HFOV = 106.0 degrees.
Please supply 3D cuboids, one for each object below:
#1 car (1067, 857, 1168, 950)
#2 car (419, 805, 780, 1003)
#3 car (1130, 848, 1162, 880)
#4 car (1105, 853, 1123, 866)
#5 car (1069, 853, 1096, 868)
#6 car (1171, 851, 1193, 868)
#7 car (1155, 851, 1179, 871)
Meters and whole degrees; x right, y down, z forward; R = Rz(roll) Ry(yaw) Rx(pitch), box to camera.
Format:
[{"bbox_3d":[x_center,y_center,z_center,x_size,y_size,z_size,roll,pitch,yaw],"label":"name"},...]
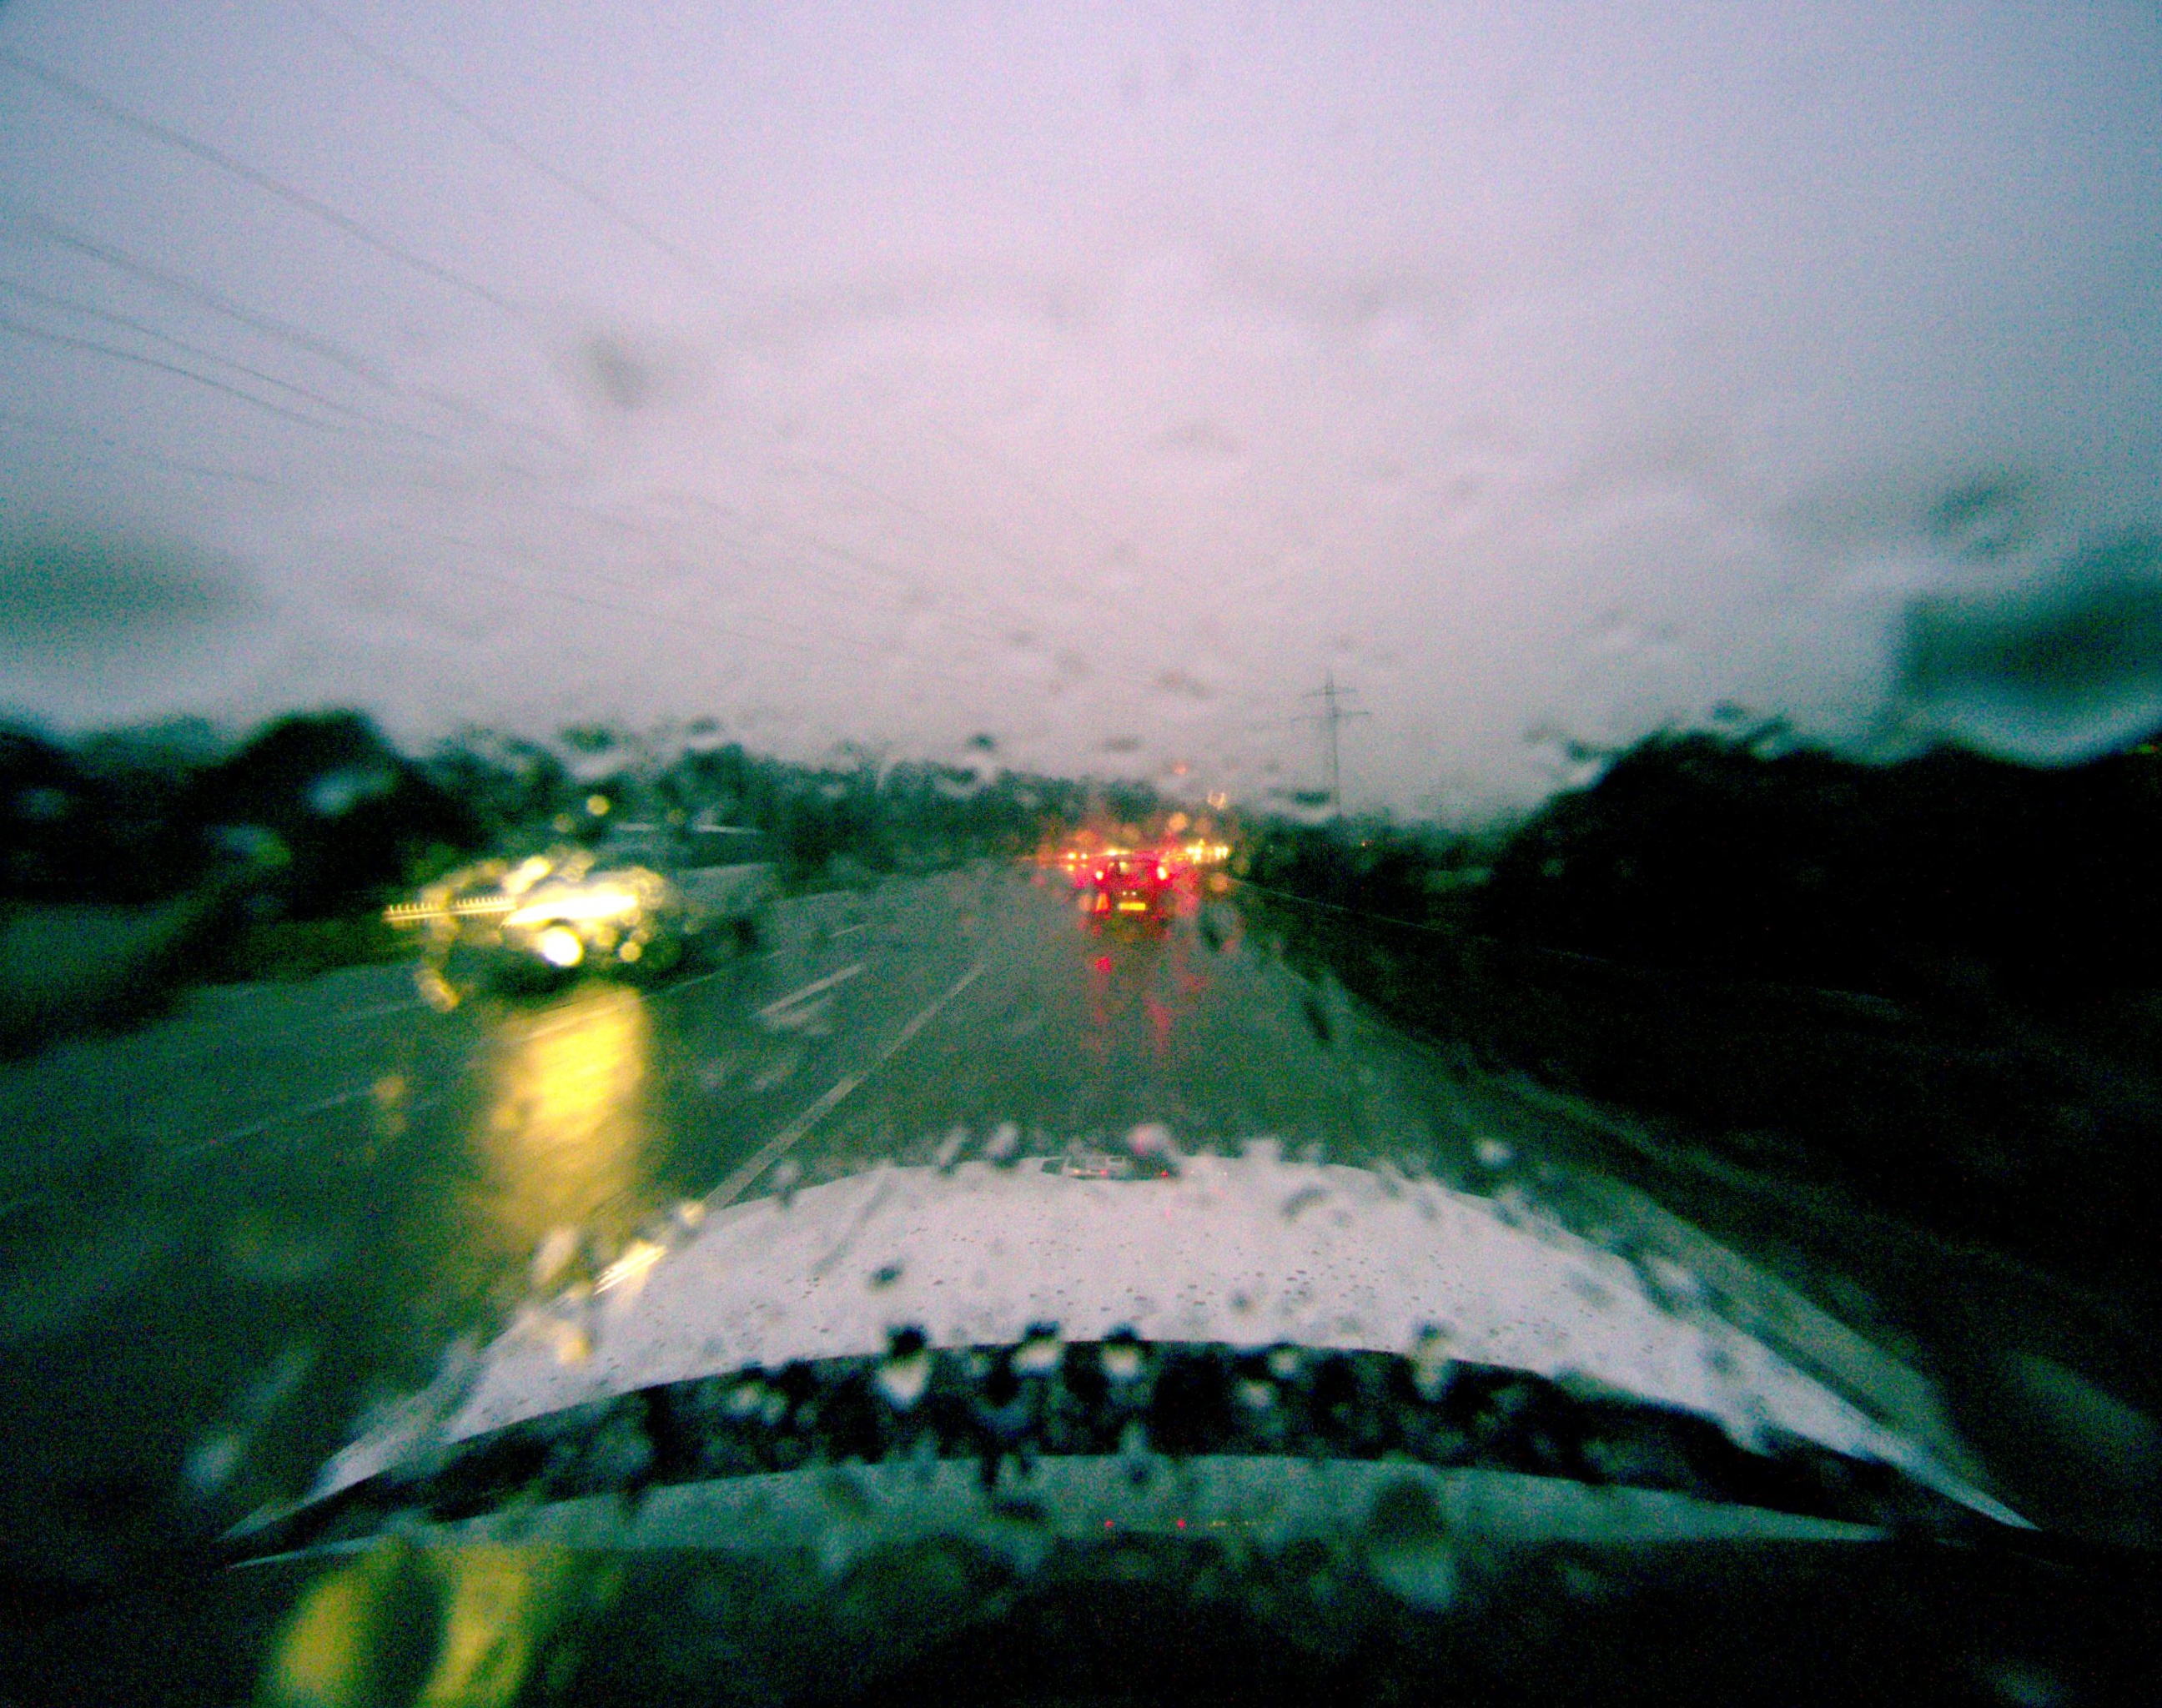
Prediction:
[{"bbox_3d":[0.726,0.897,16.603,1.723,1.532,4.044,-3,0,2],"label":"car"},{"bbox_3d":[-6.377,0.536,11.752,1.864,2.137,5.183,-3,0,2],"label":"car"},{"bbox_3d":[4.278,0.602,54.059,1.938,2.013,4.003,1,0,3],"label":"car"},{"bbox_3d":[3.773,0.593,92.008,1.686,1.417,4.008,1,1,7],"label":"car"},{"bbox_3d":[0.164,0.566,74.765,1.584,1.244,4.015,3,2,14],"label":"car"},{"bbox_3d":[11.398,0.585,91.697,1.932,1.744,4.015,2,1,14],"label":"car"},{"bbox_3d":[7.873,0.594,74.174,1.935,1.744,4.010,1,0,8],"label":"car"}]
